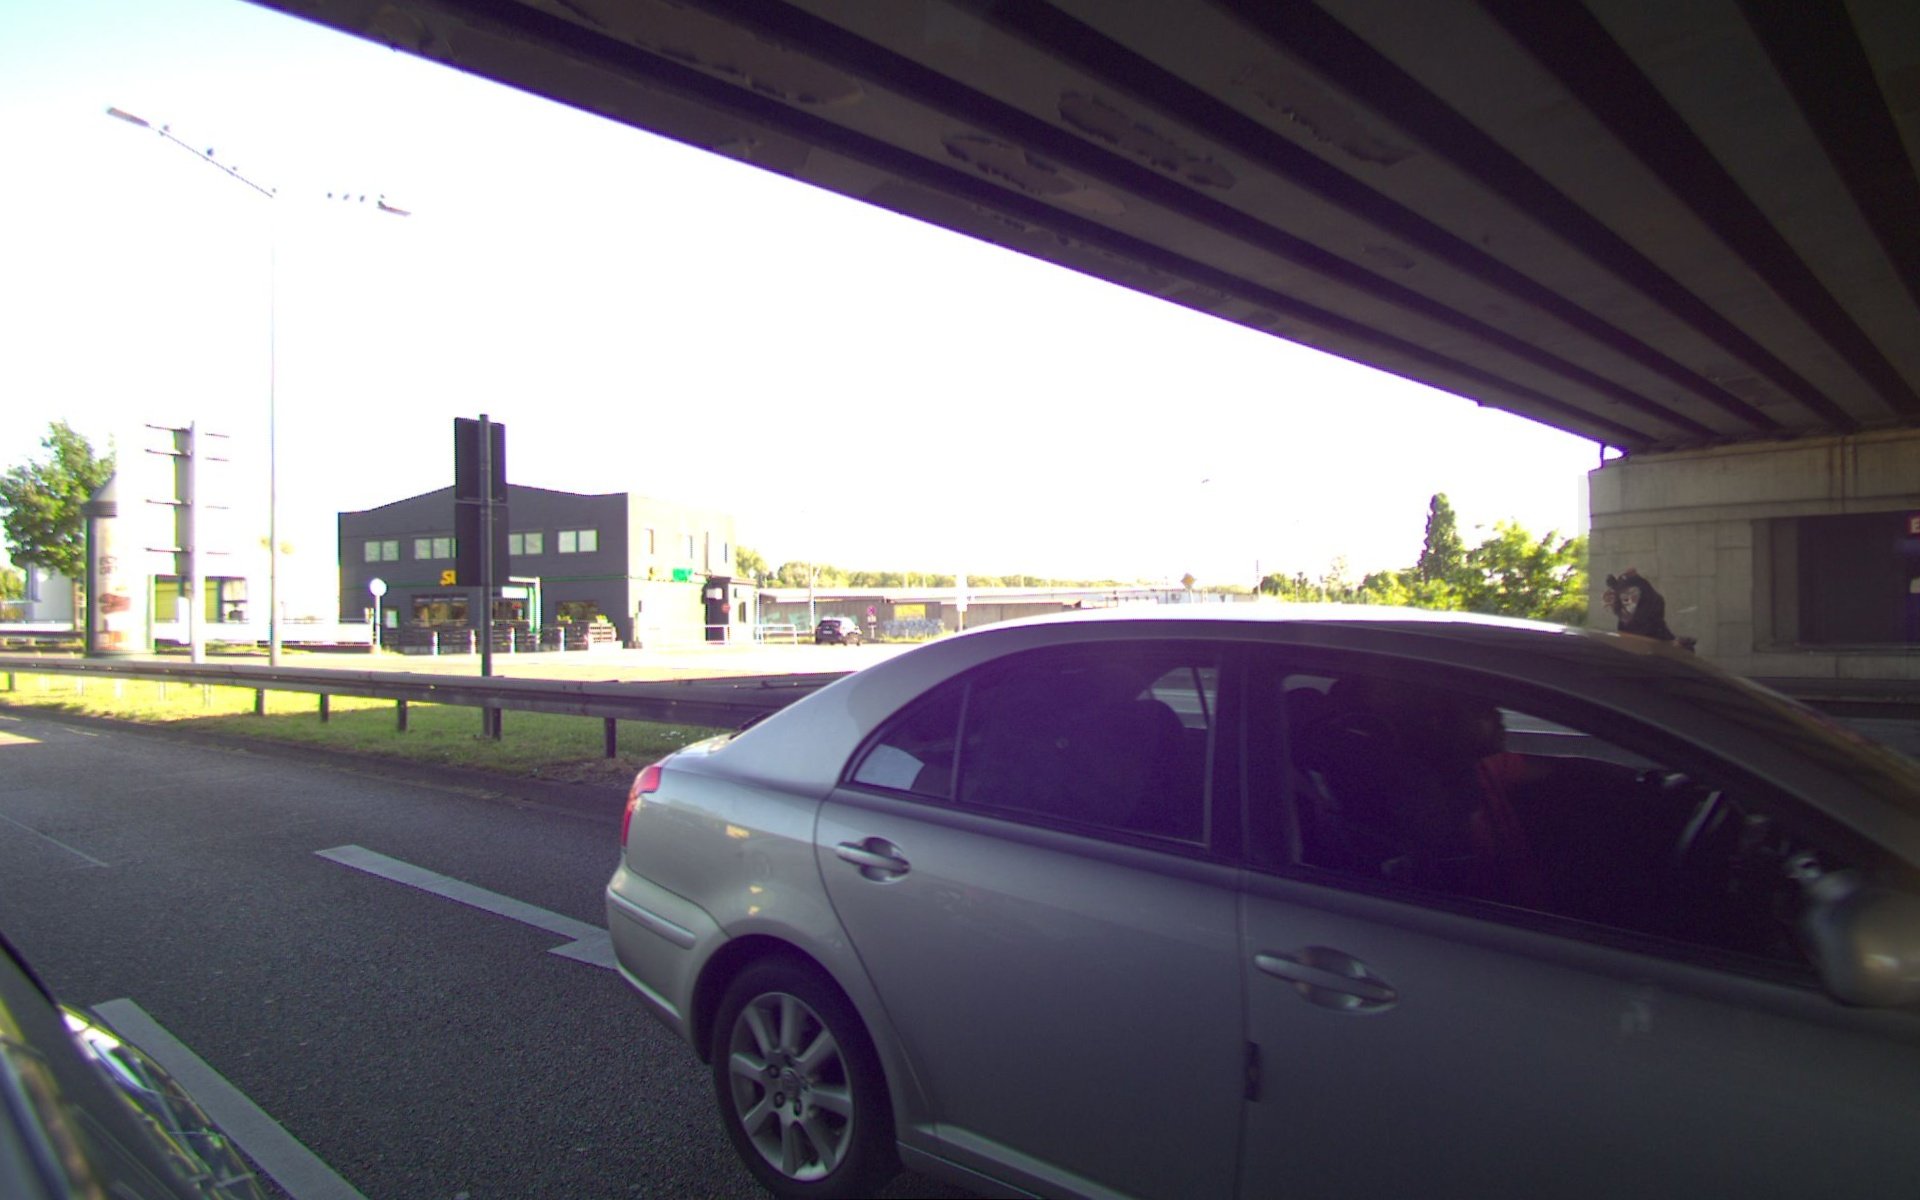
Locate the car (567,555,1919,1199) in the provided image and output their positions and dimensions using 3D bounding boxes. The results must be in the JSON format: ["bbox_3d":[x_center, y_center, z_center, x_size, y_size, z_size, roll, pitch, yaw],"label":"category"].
[{"bbox_3d":[1.132,0.688,2.235,4.391,1.466,1.681,-2,-1,37],"label":"car"}]

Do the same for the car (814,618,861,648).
[{"bbox_3d":[-6.630,1.791,54.976,1.858,1.453,3.996,-1,0,3],"label":"car"}]
